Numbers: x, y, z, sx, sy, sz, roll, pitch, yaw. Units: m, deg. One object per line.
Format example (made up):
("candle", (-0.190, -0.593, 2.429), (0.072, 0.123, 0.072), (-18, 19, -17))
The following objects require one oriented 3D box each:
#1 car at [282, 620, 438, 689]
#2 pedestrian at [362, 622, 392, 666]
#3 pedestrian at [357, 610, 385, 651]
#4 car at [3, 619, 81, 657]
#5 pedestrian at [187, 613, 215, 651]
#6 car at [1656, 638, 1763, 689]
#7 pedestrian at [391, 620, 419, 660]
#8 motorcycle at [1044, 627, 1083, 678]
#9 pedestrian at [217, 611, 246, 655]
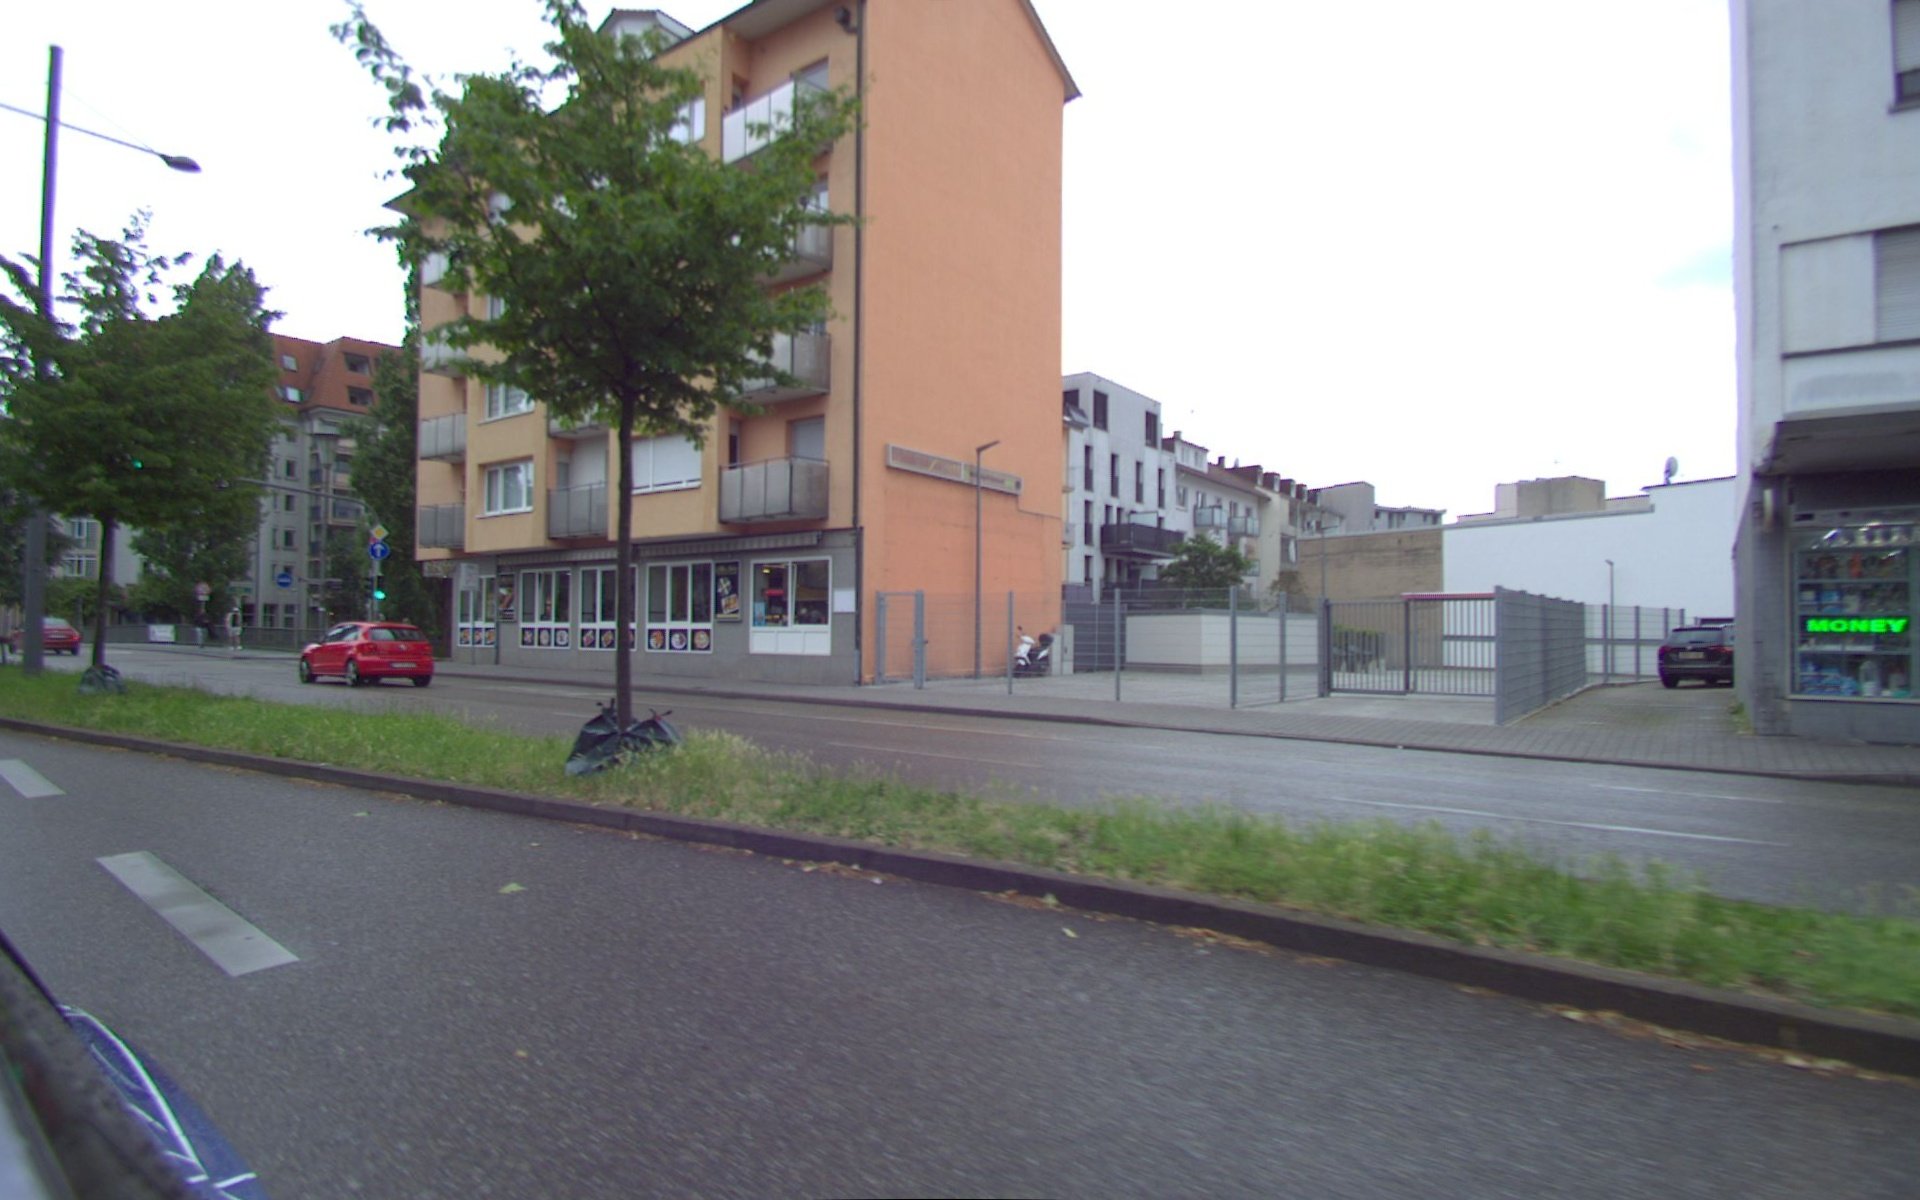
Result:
("car", (-13.883, 1.238, 23.345), (3.937, 1.441, 1.589), (-1, -5, 36))
("pedestrian", (-19.729, 1.490, 34.242), (0.604, 1.452, 0.557), (-2, 0, 18))
("pedestrian", (-24.517, 1.271, 42.135), (0.675, 1.704, 0.745), (0, -2, 6))
("car", (-36.368, 1.485, 40.065), (3.828, 1.404, 1.552), (-1, -4, 37))
("pedestrian", (-34.869, 1.457, 46.477), (0.798, 1.708, 0.758), (-1, -3, 35))
("car", (20.149, 1.652, 27.160), (3.714, 1.276, 1.709), (2, -3, -44))
("pedestrian", (-23.292, 1.665, 42.463), (0.736, 1.661, 0.683), (0, -2, 1))
("motorcycle", (3.063, 1.559, 29.890), (0.396, 1.473, 1.449), (-1, -5, 38))
("pedestrian", (-31.856, 1.436, 44.260), (0.798, 1.901, 0.738), (-1, -3, 35))
